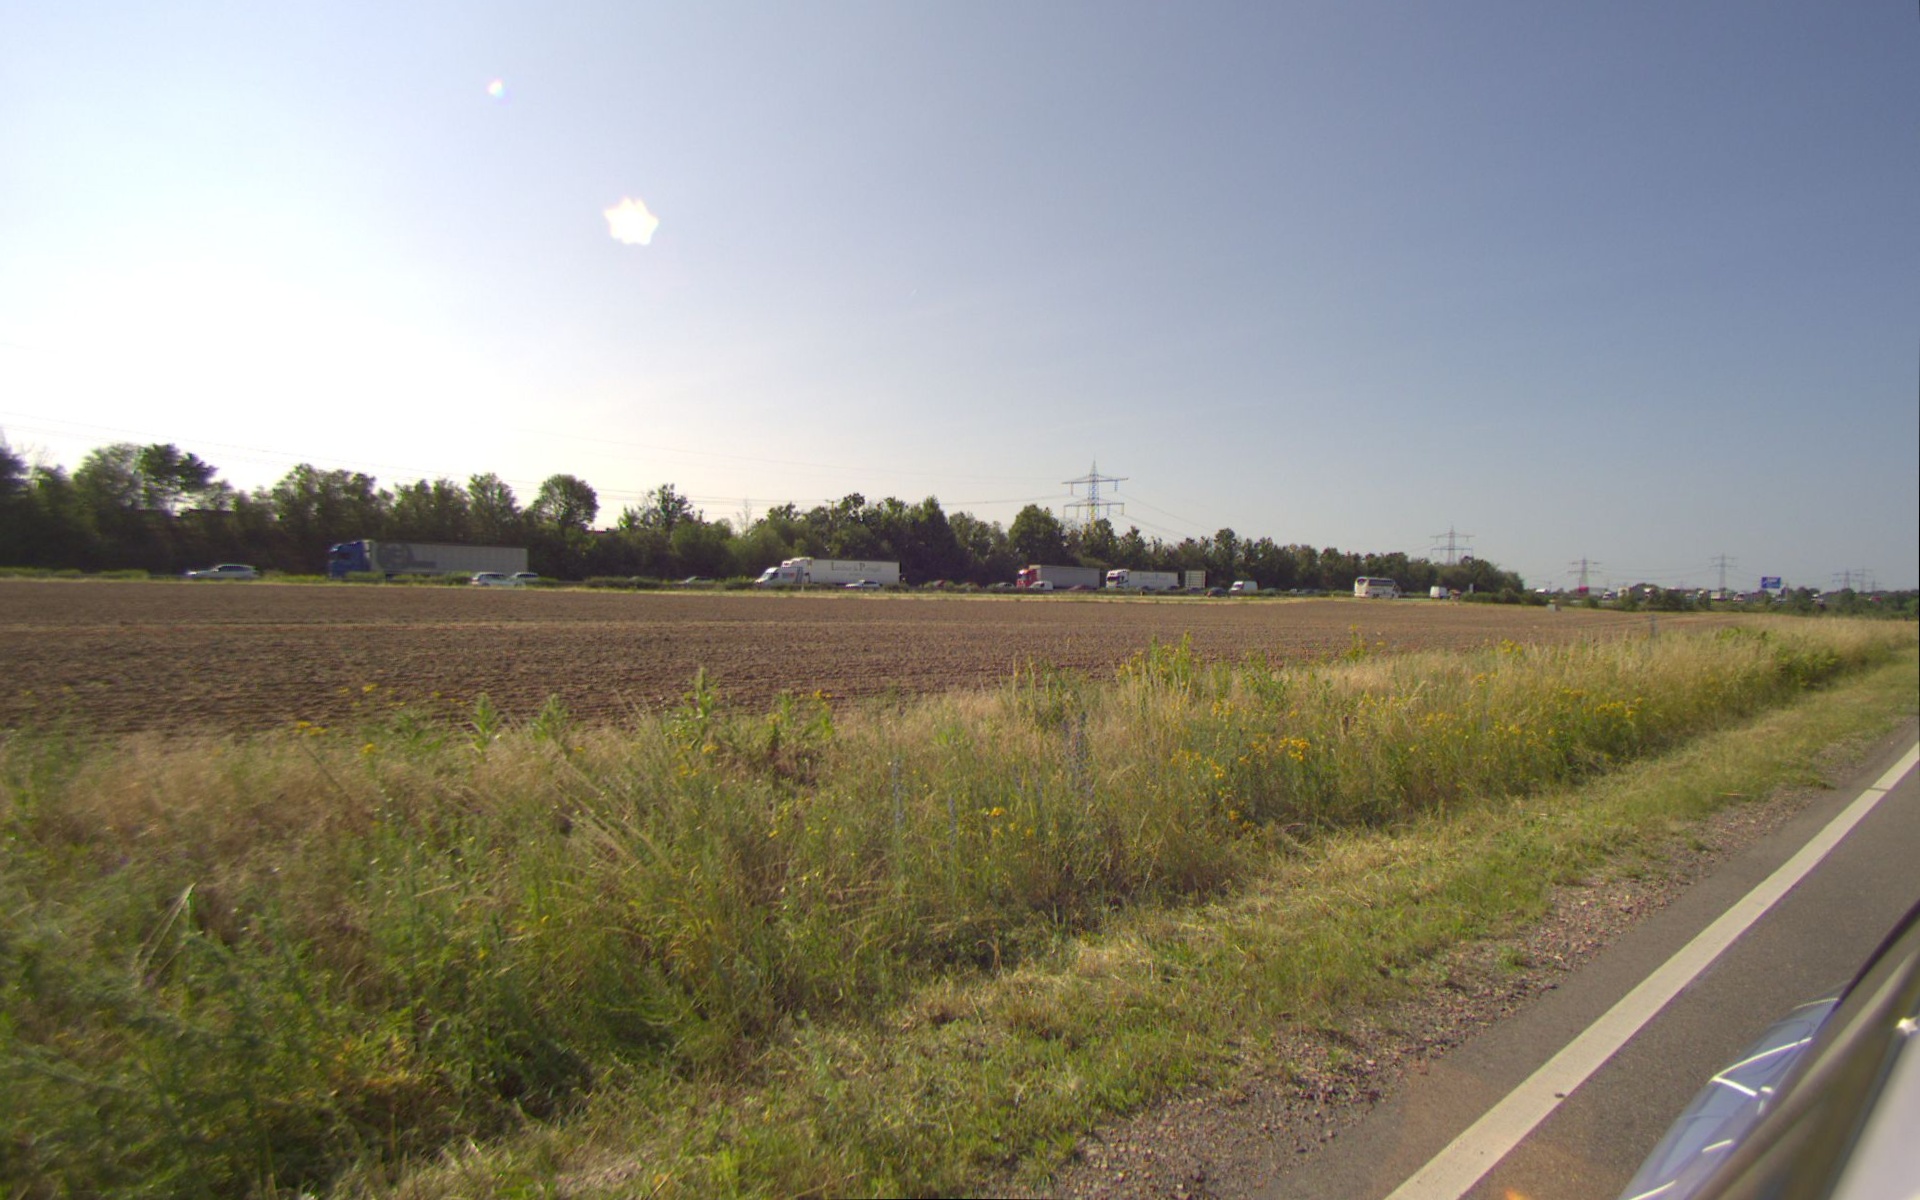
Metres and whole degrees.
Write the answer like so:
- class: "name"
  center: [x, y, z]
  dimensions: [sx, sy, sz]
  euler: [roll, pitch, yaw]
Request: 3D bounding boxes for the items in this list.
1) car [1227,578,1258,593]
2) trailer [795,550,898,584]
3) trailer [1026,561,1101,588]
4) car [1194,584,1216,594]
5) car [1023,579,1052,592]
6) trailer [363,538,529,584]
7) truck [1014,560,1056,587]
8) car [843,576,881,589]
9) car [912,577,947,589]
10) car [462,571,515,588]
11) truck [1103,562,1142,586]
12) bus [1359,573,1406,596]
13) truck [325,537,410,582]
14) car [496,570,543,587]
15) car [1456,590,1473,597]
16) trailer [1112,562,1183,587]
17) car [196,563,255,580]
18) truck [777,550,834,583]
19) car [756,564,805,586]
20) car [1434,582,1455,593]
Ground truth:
- class: "car"
  center: [49.131, -2.486, 176.016]
  dimensions: [6.303, 2.478, 2.040]
  euler: [0, 0, -42]
- class: "trailer"
  center: [-13.802, -3.954, 124.336]
  dimensions: [13.134, 3.780, 3.077]
  euler: [0, 1, -42]
- class: "trailer"
  center: [15.688, -3.799, 151.924]
  dimensions: [13.548, 3.780, 2.949]
  euler: [0, 1, -43]
- class: "car"
  center: [36.787, -1.639, 151.763]
  dimensions: [3.557, 1.250, 1.547]
  euler: [1, -2, -43]
- class: "car"
  center: [10.687, -1.988, 138.799]
  dimensions: [4.025, 1.659, 1.704]
  euler: [0, 0, -43]
- class: "trailer"
  center: [-47.311, -3.522, 93.673]
  dimensions: [13.392, 3.780, 3.077]
  euler: [0, 1, -41]
- class: "truck"
  center: [10.984, -3.818, 147.547]
  dimensions: [5.770, 3.780, 2.949]
  euler: [0, 1, -43]
- class: "car"
  center: [-11.537, -2.016, 119.090]
  dimensions: [4.175, 1.403, 1.852]
  euler: [1, -1, -43]
- class: "car"
  center: [-3.762, -2.136, 126.143]
  dimensions: [4.175, 1.403, 1.852]
  euler: [1, -1, -43]
- class: "car"
  center: [-38.053, -1.638, 81.738]
  dimensions: [3.557, 1.250, 1.547]
  euler: [1, -2, -43]
- class: "truck"
  center: [25.899, -4.160, 161.198]
  dimensions: [6.006, 3.575, 3.207]
  euler: [0, 2, -43]
- class: "bus"
  center: [79.296, -2.861, 189.716]
  dimensions: [14.303, 3.851, 2.465]
  euler: [1, 1, -44]
- class: "truck"
  center: [-52.275, -3.527, 89.317]
  dimensions: [5.981, 3.780, 3.077]
  euler: [0, 1, -41]
- class: "car"
  center: [-39.696, -1.918, 91.215]
  dimensions: [3.542, 1.403, 1.493]
  euler: [1, -1, -43]
- class: "car"
  center: [102.520, -1.345, 205.580]
  dimensions: [4.137, 1.492, 1.705]
  euler: [0, 0, -42]
- class: "trailer"
  center: [30.868, -4.139, 165.845]
  dimensions: [14.828, 3.575, 3.207]
  euler: [0, 2, -43]
- class: "car"
  center: [-55.369, -2.137, 76.324]
  dimensions: [3.520, 1.166, 1.396]
  euler: [1, -1, -42]
- class: "truck"
  center: [-18.338, -3.963, 120.255]
  dimensions: [6.011, 3.780, 3.077]
  euler: [0, 1, -42]
- class: "car"
  center: [-19.560, -2.692, 110.417]
  dimensions: [5.149, 2.228, 1.907]
  euler: [1, -1, -43]
- class: "car"
  center: [100.789, -2.579, 210.434]
  dimensions: [5.427, 2.402, 1.996]
  euler: [0, -1, -43]
